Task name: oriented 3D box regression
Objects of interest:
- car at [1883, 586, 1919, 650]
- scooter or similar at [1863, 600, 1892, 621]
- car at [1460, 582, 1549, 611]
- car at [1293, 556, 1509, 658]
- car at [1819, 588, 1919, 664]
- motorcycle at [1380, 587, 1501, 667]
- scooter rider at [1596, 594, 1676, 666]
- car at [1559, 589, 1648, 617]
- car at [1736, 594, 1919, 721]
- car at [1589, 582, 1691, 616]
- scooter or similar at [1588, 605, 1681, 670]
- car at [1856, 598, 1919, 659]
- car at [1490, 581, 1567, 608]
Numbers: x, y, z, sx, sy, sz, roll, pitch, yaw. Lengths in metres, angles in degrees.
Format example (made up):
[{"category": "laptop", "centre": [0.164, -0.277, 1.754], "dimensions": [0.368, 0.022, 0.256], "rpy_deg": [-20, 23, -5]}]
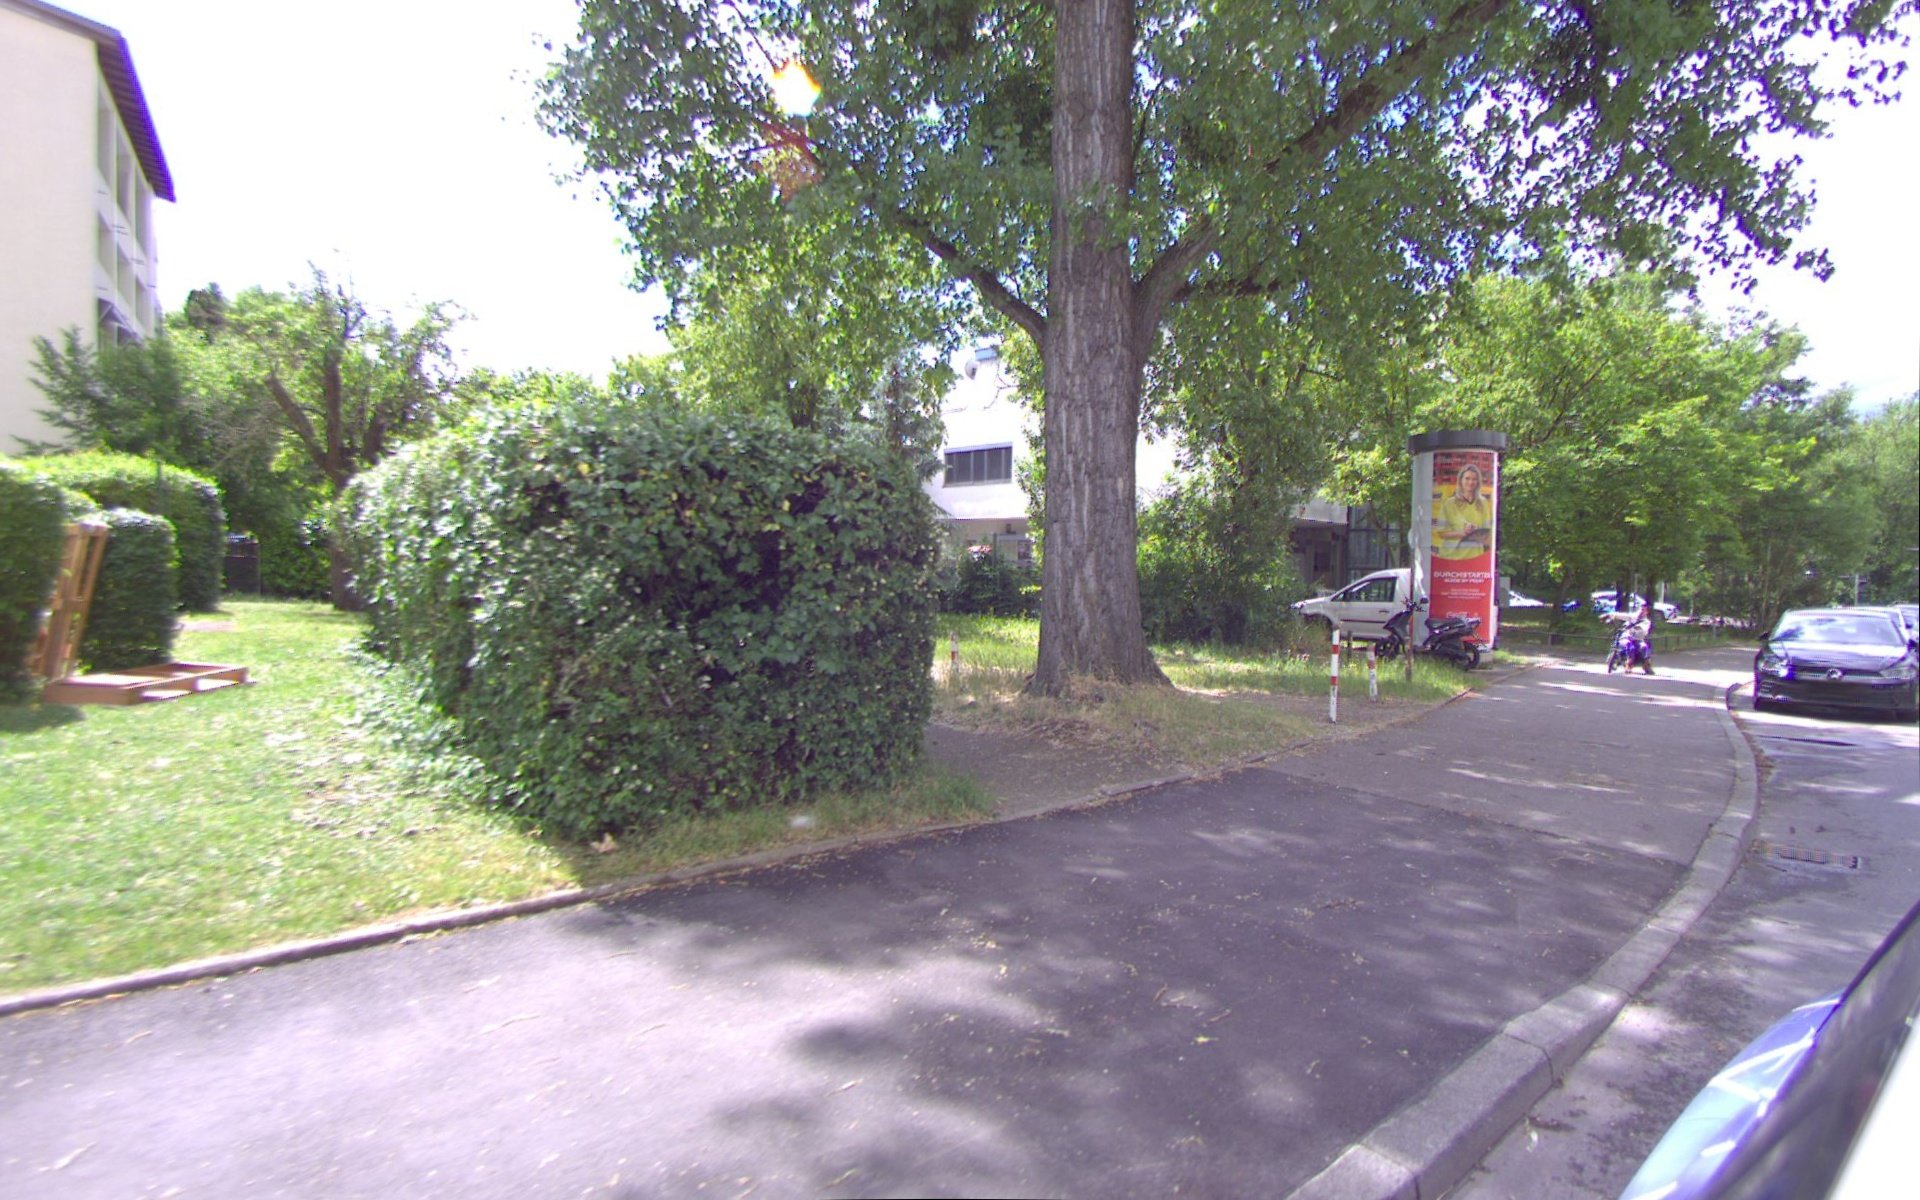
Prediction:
[{"category": "car", "centre": [28.994, 0.562, 30.212], "dimensions": [4.491, 1.784, 1.647], "rpy_deg": [1, 2, -42]}, {"category": "scooter or similar", "centre": [59.132, 0.701, 65.226], "dimensions": [1.195, 1.310, 0.531], "rpy_deg": [0, -4, 19]}, {"category": "car", "centre": [32.927, -0.244, 61.301], "dimensions": [4.391, 1.431, 1.921], "rpy_deg": [4, 5, 44]}, {"category": "car", "centre": [9.306, 0.094, 21.454], "dimensions": [3.964, 1.845, 1.793], "rpy_deg": [4, 2, 28]}, {"category": "car", "centre": [22.092, 0.581, 24.301], "dimensions": [4.494, 1.584, 1.785], "rpy_deg": [1, 2, -45]}, {"category": "motorcycle", "centre": [8.227, 0.433, 17.341], "dimensions": [1.785, 1.225, 0.705], "rpy_deg": [4, 2, 29]}, {"category": "scooter rider", "centre": [12.476, 0.539, 18.672], "dimensions": [1.260, 1.235, 0.887], "rpy_deg": [2, 2, -42]}, {"category": "car", "centre": [36.615, 0.144, 57.631], "dimensions": [1.883, 1.239, 3.963], "rpy_deg": [-3, 5, -44]}, {"category": "car", "centre": [12.568, 0.720, 14.372], "dimensions": [3.762, 1.466, 1.818], "rpy_deg": [1, 2, -43]}, {"category": "car", "centre": [39.518, -0.094, 58.884], "dimensions": [1.892, 1.610, 4.646], "rpy_deg": [-3, 5, -44]}, {"category": "scooter or similar", "centre": [12.433, 0.673, 18.631], "dimensions": [2.077, 1.077, 0.891], "rpy_deg": [2, 2, -42]}, {"category": "car", "centre": [25.600, 0.756, 27.374], "dimensions": [4.007, 1.476, 1.646], "rpy_deg": [1, 2, -43]}, {"category": "car", "centre": [35.511, -0.342, 63.230], "dimensions": [3.887, 1.429, 1.584], "rpy_deg": [4, 5, 44]}]
